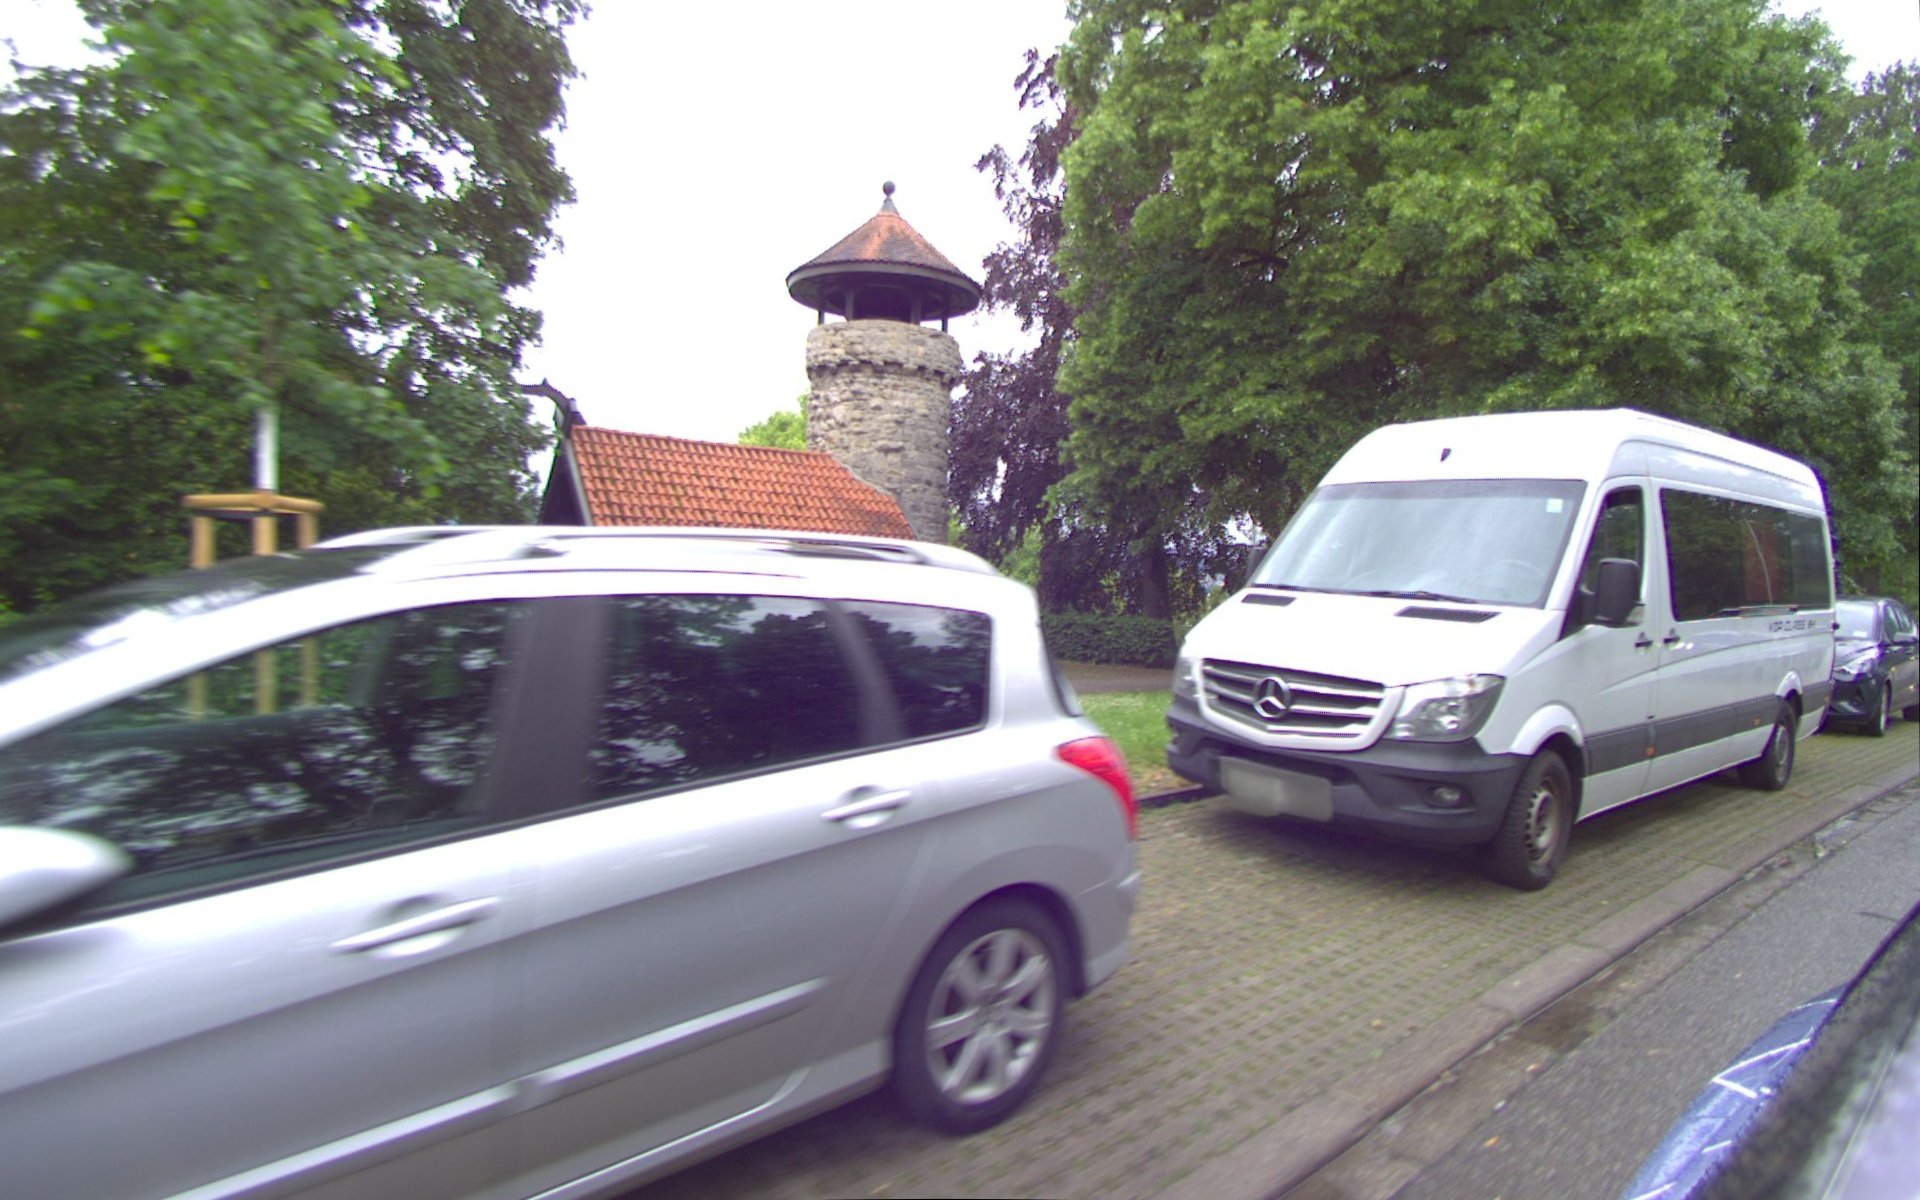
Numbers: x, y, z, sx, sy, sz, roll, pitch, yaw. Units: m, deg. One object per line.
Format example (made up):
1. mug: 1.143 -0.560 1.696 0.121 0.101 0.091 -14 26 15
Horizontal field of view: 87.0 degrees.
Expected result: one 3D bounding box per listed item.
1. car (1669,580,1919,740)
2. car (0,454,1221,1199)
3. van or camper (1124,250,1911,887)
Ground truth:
1. car: 10.150 0.611 11.890 3.654 1.530 1.871 1 2 -36
2. car: -1.382 0.529 2.460 4.193 1.557 1.809 0 3 -41
3. van or camper: 4.835 -0.088 7.527 8.281 2.615 2.021 1 1 -38
